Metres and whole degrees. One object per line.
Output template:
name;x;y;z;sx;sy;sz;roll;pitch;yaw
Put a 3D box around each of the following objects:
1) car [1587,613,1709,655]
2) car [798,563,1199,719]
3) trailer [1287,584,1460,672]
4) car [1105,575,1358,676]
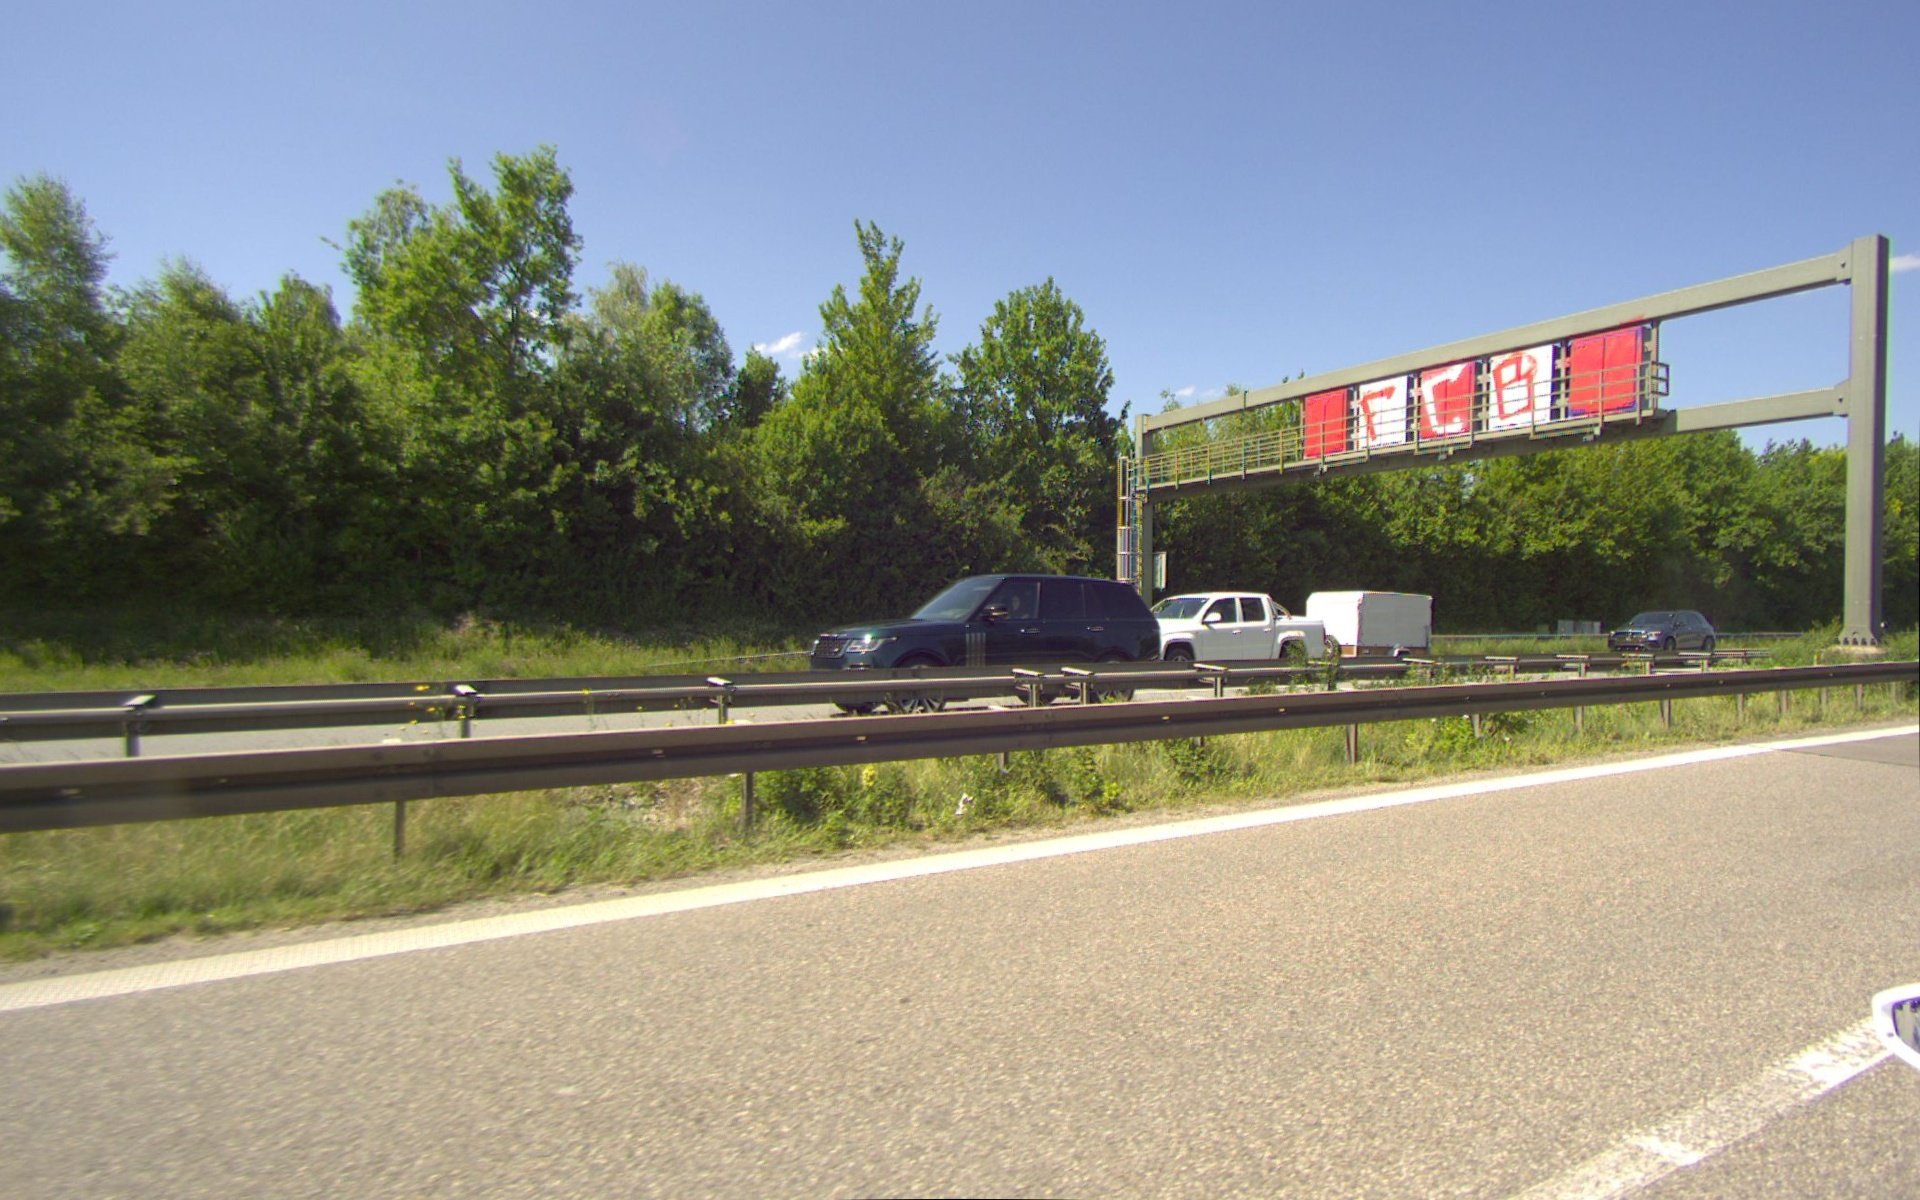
car;25.904;1.259;37.768;5.007;1.484;1.892;1;0;-31
car;0.603;0.525;13.319;5.136;1.729;1.898;1;-2;-30
trailer;9.434;0.632;22.869;3.876;1.859;1.612;2;0;-30
car;5.590;0.528;20.480;5.067;1.829;1.984;2;0;-30
